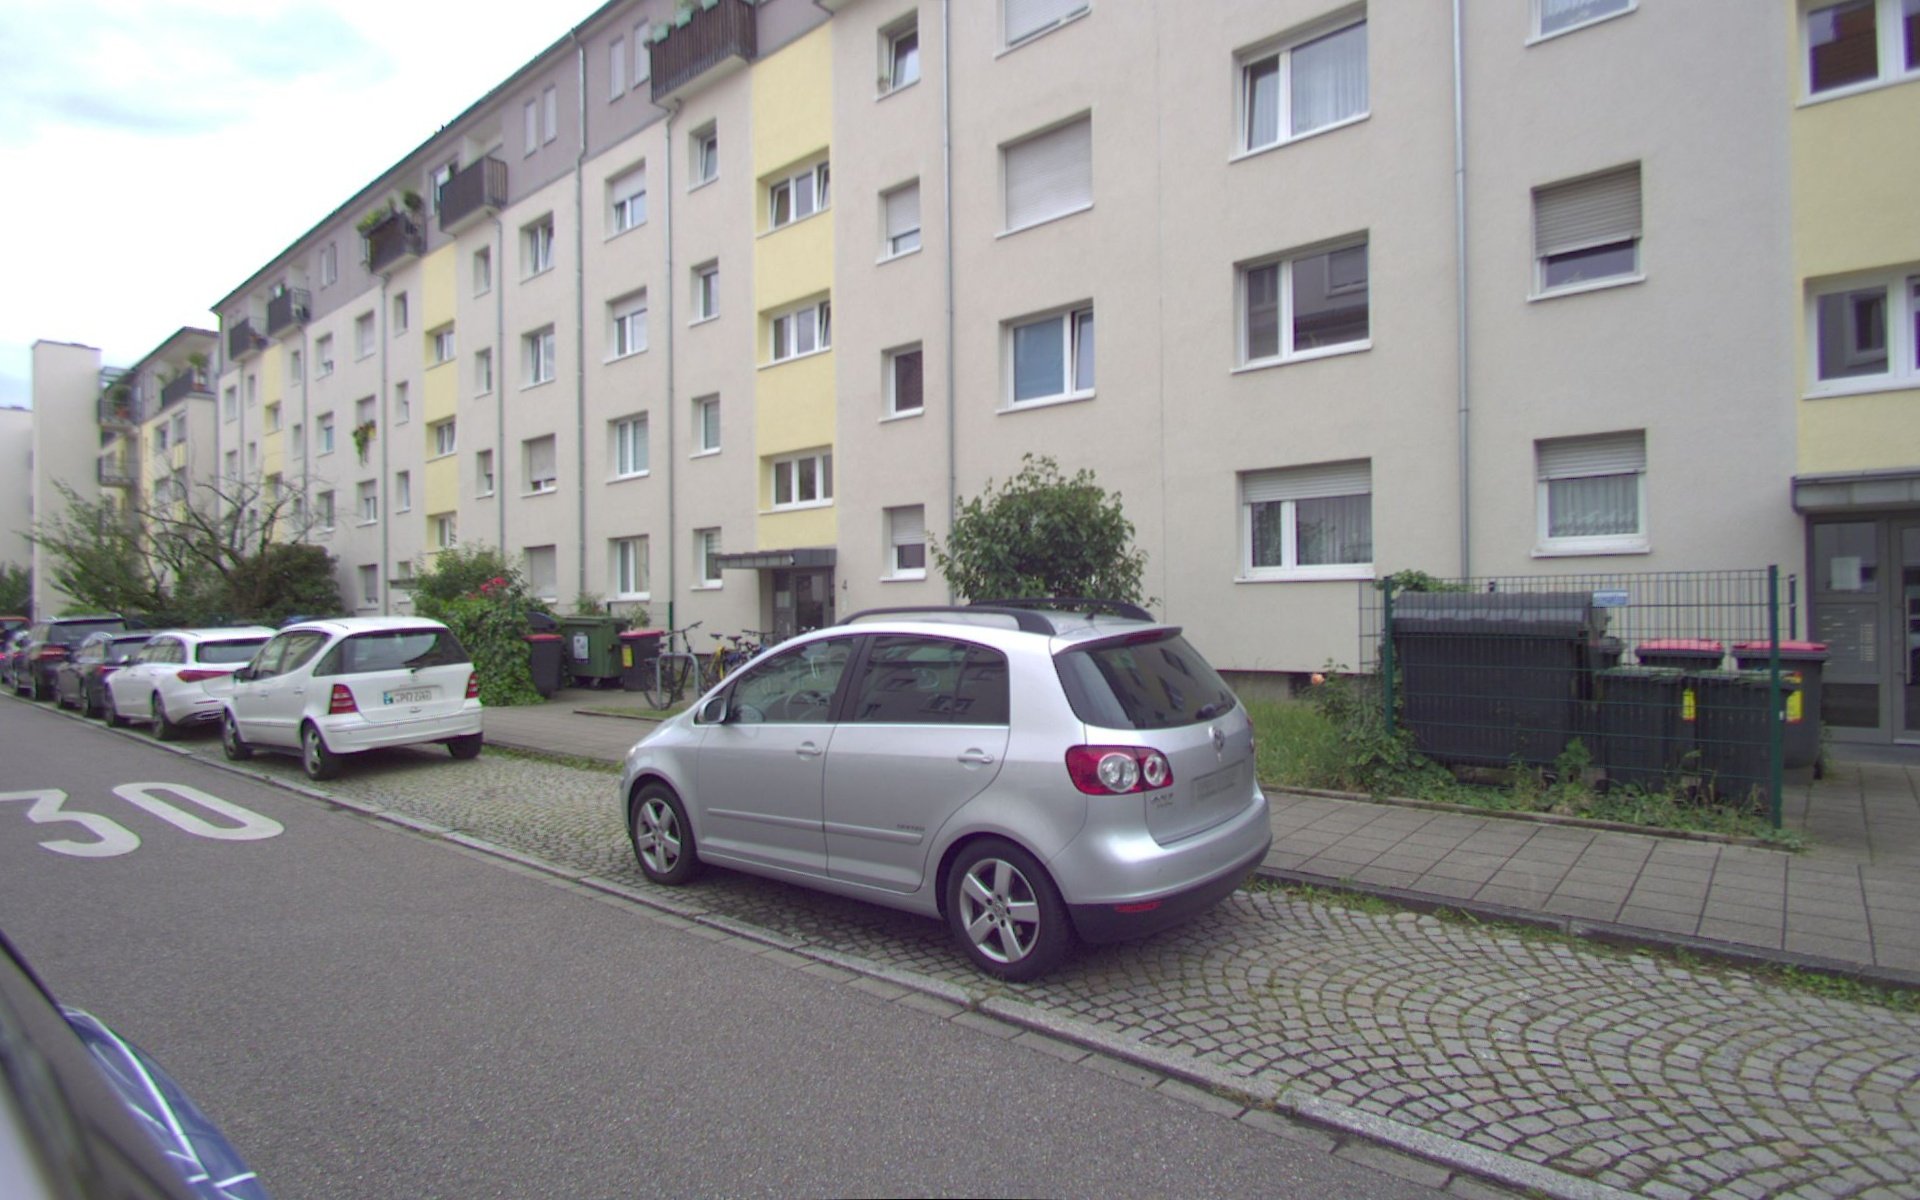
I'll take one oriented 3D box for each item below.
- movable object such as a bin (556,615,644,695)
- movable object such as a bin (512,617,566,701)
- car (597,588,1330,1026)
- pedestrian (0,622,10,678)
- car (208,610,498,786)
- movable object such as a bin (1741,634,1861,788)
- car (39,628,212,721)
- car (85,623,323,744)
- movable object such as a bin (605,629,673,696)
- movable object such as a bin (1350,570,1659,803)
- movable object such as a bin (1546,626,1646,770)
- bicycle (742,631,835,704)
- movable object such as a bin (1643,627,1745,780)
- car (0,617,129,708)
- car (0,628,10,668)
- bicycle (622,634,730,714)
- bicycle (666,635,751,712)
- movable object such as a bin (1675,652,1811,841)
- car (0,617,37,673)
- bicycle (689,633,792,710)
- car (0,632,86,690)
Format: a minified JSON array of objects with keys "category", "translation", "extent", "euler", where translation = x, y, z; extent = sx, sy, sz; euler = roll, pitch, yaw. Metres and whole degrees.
[{"category":"movable object such as a bin","translation":[-6.625,0.976,18.655],"extent":[1.187,1.385,1.047],"euler":[0,0,36]},{"category":"movable object such as a bin","translation":[-7.165,0.989,17.221],"extent":[0.587,1.378,0.651],"euler":[0,0,37]},{"category":"car","translation":[-0.225,0.802,5.609],"extent":[3.913,1.562,1.637],"euler":[-2,0,41]},{"category":"pedestrian","translation":[-29.173,1.521,30.579],"extent":[0.621,1.679,0.596],"euler":[-2,-2,38]},{"category":"car","translation":[-6.905,0.972,11.379],"extent":[3.724,1.651,1.668],"euler":[-2,-1,40]},{"category":"movable object such as a bin","translation":[6.329,0.797,7.644],"extent":[0.633,1.059,0.855],"euler":[-2,-2,39]},{"category":"car","translation":[-15.246,1.254,18.409],"extent":[4.480,1.464,1.707],"euler":[-2,-1,41]},{"category":"car","translation":[-11.322,1.152,15.029],"extent":[4.681,1.521,1.701],"euler":[-2,-2,38]},{"category":"movable object such as a bin","translation":[-5.729,1.103,18.057],"extent":[0.786,1.117,0.861],"euler":[0,0,37]},{"category":"movable object such as a bin","translation":[3.976,0.553,7.375],"extent":[1.670,1.432,1.573],"euler":[-2,-1,40]},{"category":"movable object such as a bin","translation":[5.352,0.791,8.501],"extent":[0.597,1.125,0.834],"euler":[-2,-2,38]},{"category":"bicycle","translation":[-2.601,1.000,15.259],"extent":[1.557,1.032,0.416],"euler":[-2,-1,38]},{"category":"movable object such as a bin","translation":[5.867,0.788,8.083],"extent":[0.597,1.125,0.834],"euler":[-2,-2,38]},{"category":"car","translation":[-19.837,1.332,22.312],"extent":[4.448,1.793,1.555],"euler":[-2,-2,40]},{"category":"car","translation":[-37.288,1.830,38.122],"extent":[3.537,1.455,1.686],"euler":[-2,-2,38]},{"category":"bicycle","translation":[-3.949,1.000,13.994],"extent":[1.877,1.032,0.483],"euler":[-2,-2,41]},{"category":"bicycle","translation":[-3.565,1.016,14.287],"extent":[1.496,1.032,0.352],"euler":[-2,-2,40]},{"category":"movable object such as a bin","translation":[4.718,0.847,6.108],"extent":[0.597,1.041,0.531],"euler":[-2,-2,39]},{"category":"car","translation":[-32.598,1.524,34.101],"extent":[3.537,1.820,1.686],"euler":[-2,-2,38]},{"category":"bicycle","translation":[-3.185,1.009,14.607],"extent":[1.753,1.032,0.473],"euler":[-2,-2,40]},{"category":"car","translation":[-24.770,1.602,27.012],"extent":[3.537,1.407,1.556],"euler":[-2,-2,38]}]
